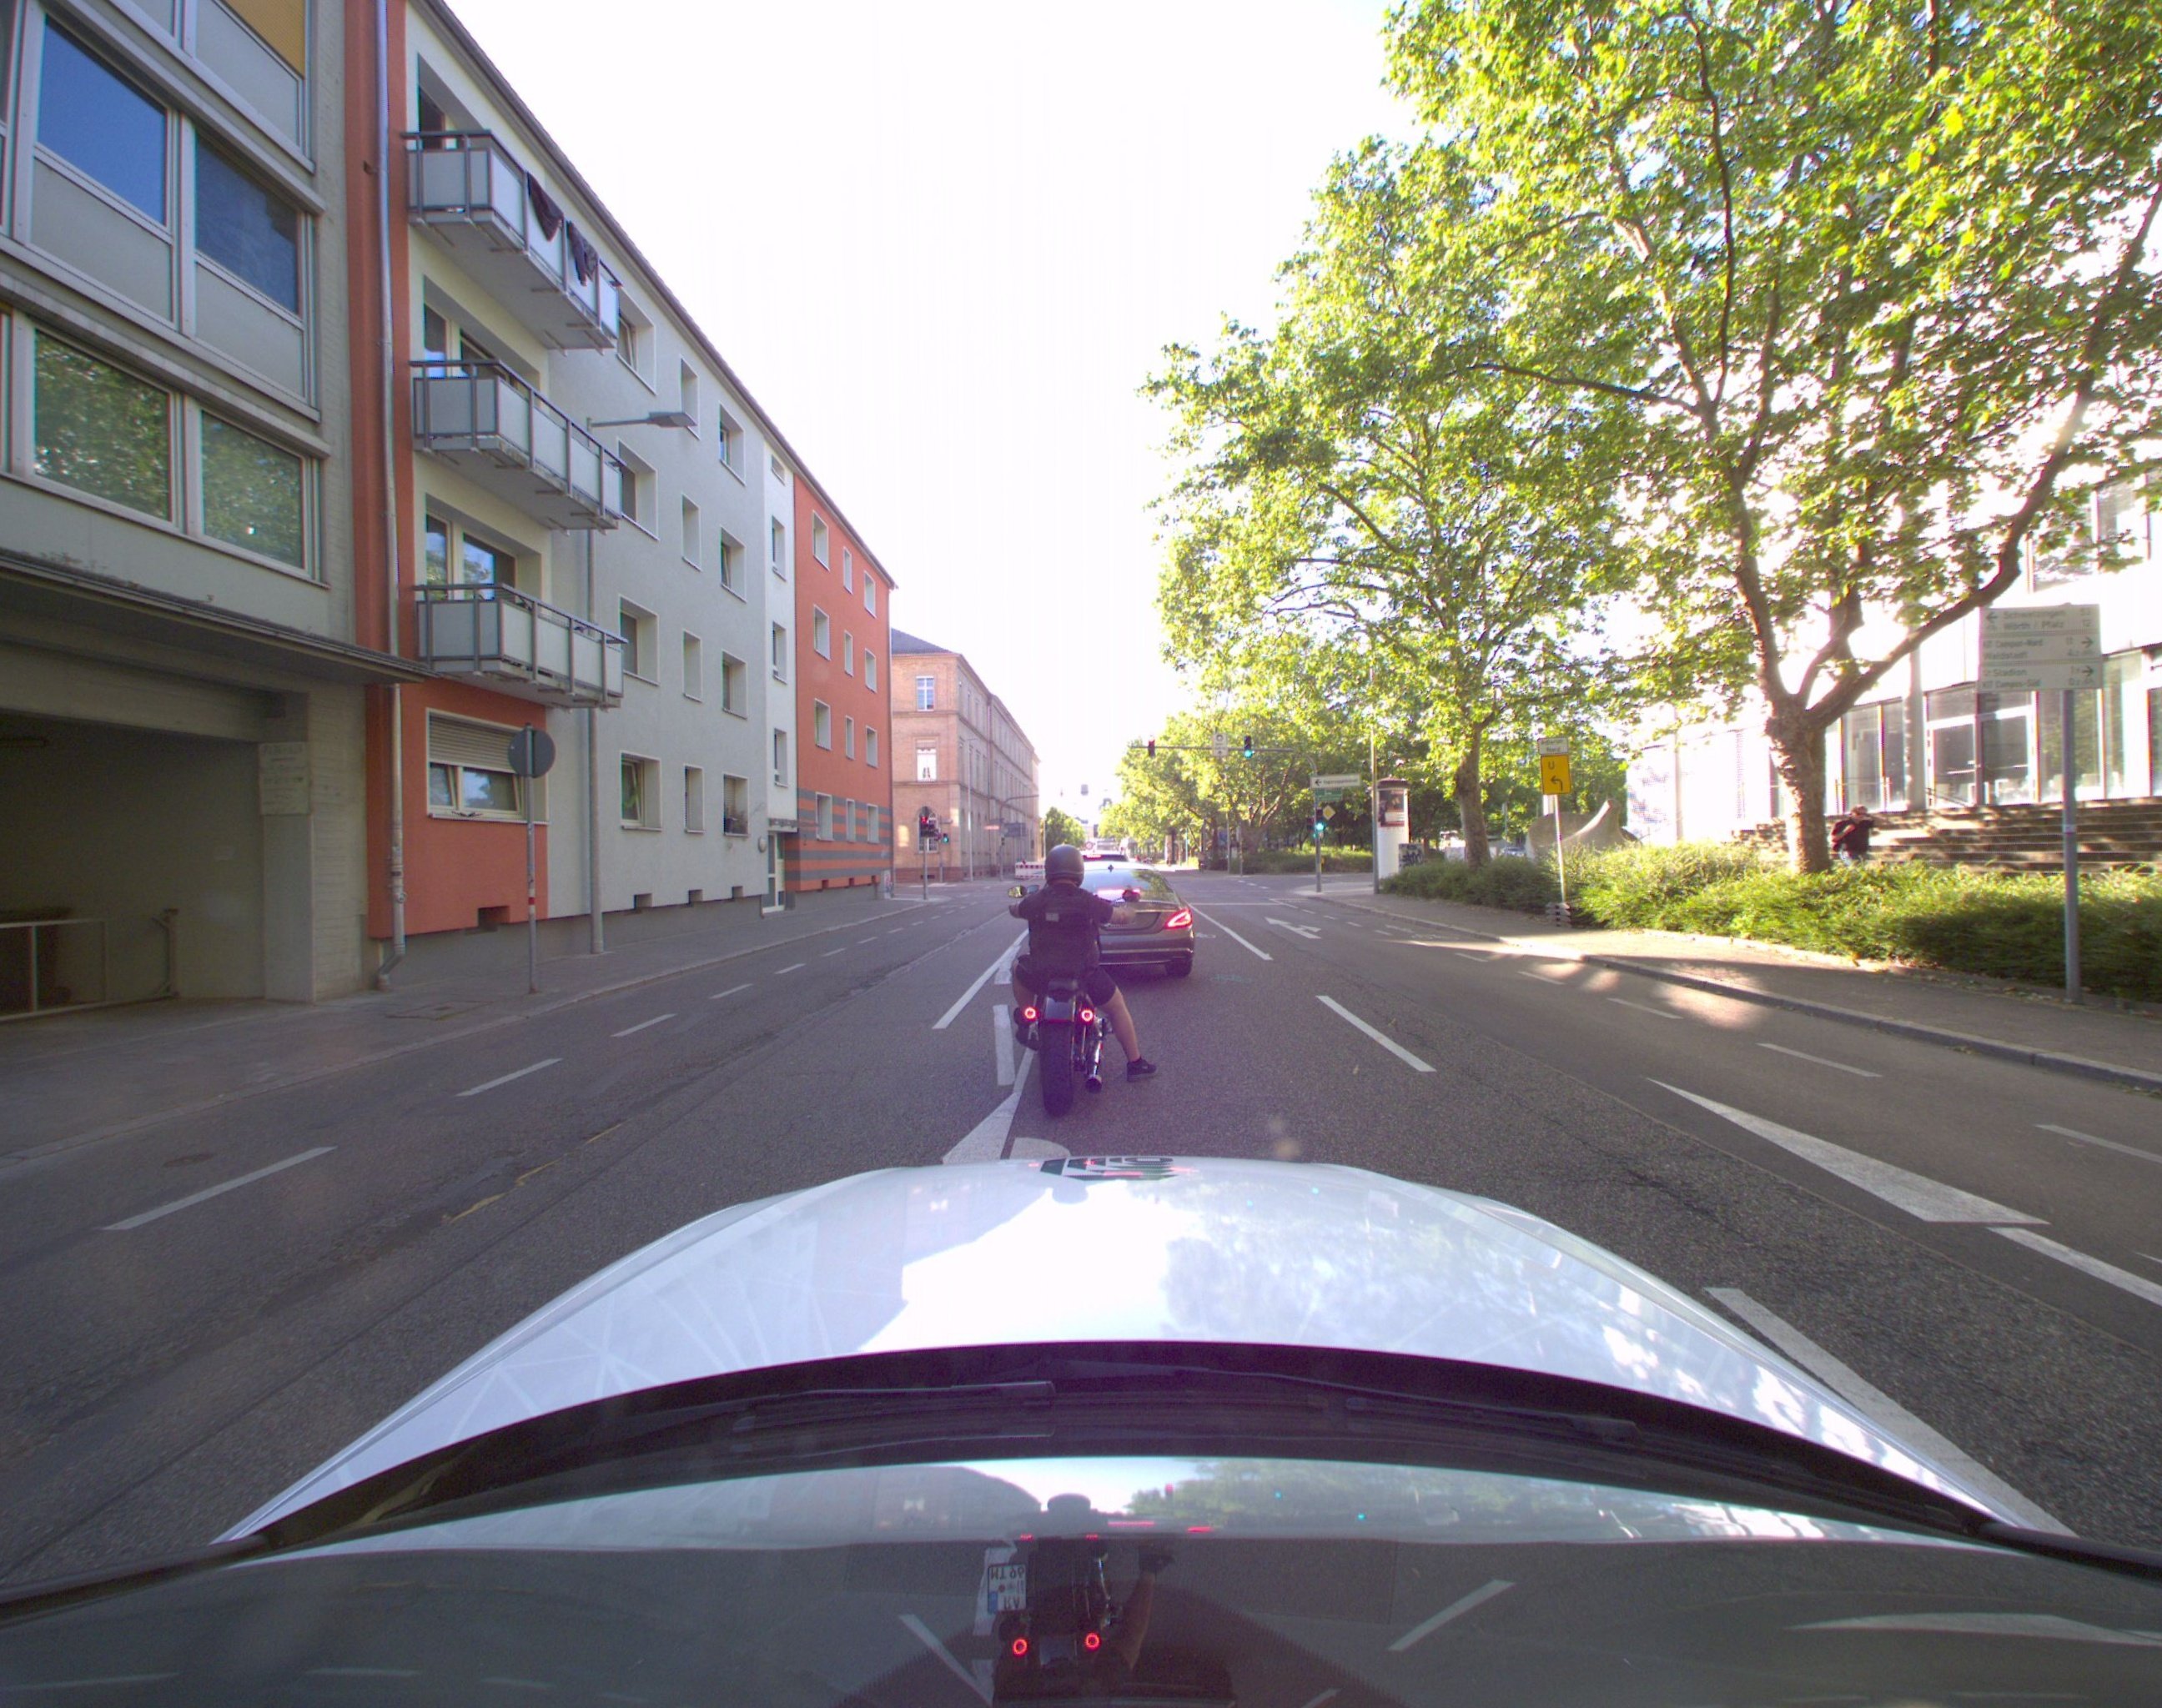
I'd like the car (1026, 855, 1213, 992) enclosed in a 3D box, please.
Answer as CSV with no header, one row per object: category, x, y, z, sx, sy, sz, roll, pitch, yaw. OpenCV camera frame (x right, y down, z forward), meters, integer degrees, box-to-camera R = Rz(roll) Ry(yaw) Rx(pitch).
car,0.288,0.759,11.069,1.900,1.441,4.279,-1,0,-6

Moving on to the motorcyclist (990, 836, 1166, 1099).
motorcyclist,-0.006,0.689,5.382,1.057,1.582,0.908,0,-1,1

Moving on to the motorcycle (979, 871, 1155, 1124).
motorcycle,-0.042,0.814,5.652,0.958,1.357,2.321,0,-1,2

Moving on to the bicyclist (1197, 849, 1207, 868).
bicyclist,9.887,0.381,66.495,0.713,1.582,0.937,0,-1,5

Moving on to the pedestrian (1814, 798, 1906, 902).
pedestrian,13.866,-0.069,14.523,0.781,1.781,0.862,-1,0,0

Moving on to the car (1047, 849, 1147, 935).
car,0.268,0.696,16.887,1.808,1.536,3.847,-1,0,-1

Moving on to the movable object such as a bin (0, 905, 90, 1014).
movable object such as a bin,-11.325,1.098,8.639,0.736,1.074,0.716,0,-1,2

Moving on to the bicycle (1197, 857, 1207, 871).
bicycle,9.904,0.807,66.647,0.712,1.172,2.179,0,-1,6
